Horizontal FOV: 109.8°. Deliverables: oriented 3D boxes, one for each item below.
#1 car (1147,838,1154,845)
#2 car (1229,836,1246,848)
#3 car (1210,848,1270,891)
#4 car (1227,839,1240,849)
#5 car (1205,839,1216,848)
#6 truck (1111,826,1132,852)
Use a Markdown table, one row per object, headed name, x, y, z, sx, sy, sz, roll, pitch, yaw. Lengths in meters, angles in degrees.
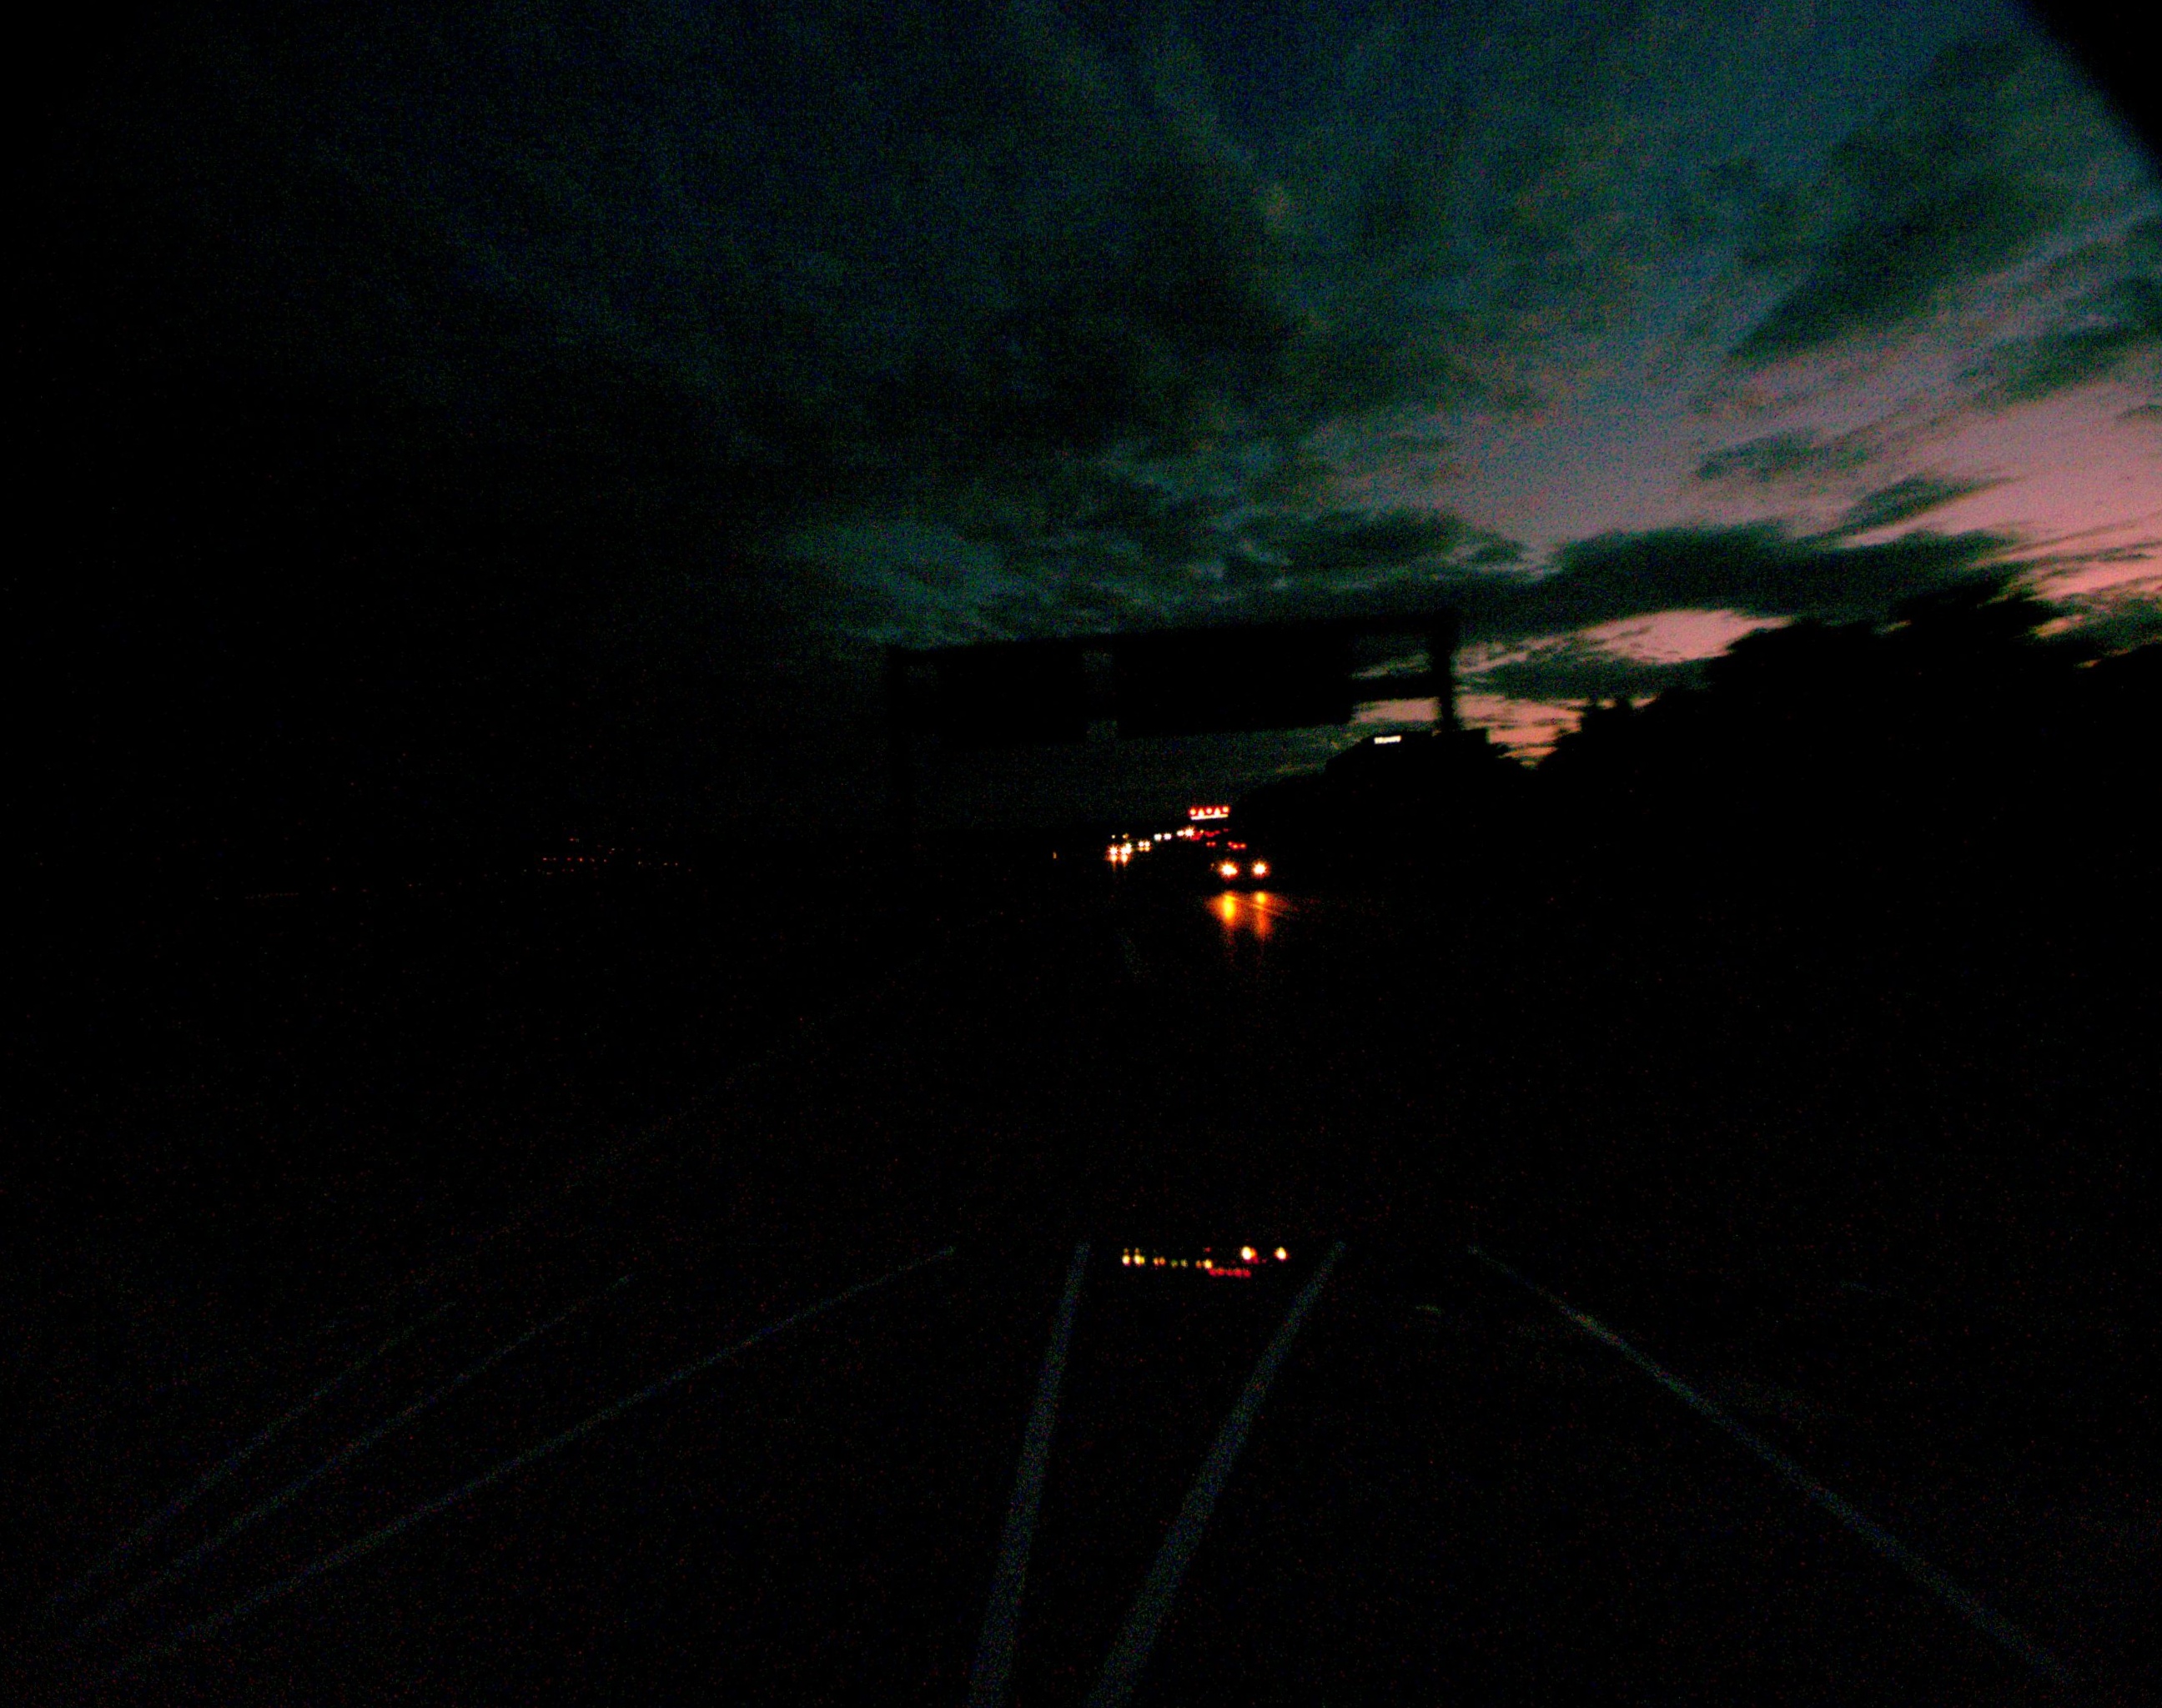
| name | x | y | z | sx | sy | sz | roll | pitch | yaw |
| --- | --- | --- | --- | --- | --- | --- | --- | --- | --- |
| car | 18.203 | -3.340 | 199.823 | 1.652 | 1.655 | 3.775 | -3 | 2 | 5 |
| car | 26.734 | -2.080 | 129.690 | 1.998 | 1.883 | 4.677 | -3 | 2 | 1 |
| car | 6.521 | 0.588 | 31.620 | 1.717 | 1.471 | 3.999 | -3 | 2 | 2 |
| car | 33.652 | -2.273 | 167.327 | 1.998 | 1.883 | 5.056 | -3 | 2 | 2 |
| car | 29.840 | -2.484 | 174.796 | 1.879 | 1.883 | 5.056 | -3 | 2 | 2 |
| truck | 7.582 | -2.907 | 140.013 | 3.025 | 4.373 | 11.616 | -2 | 2 | 6 |
